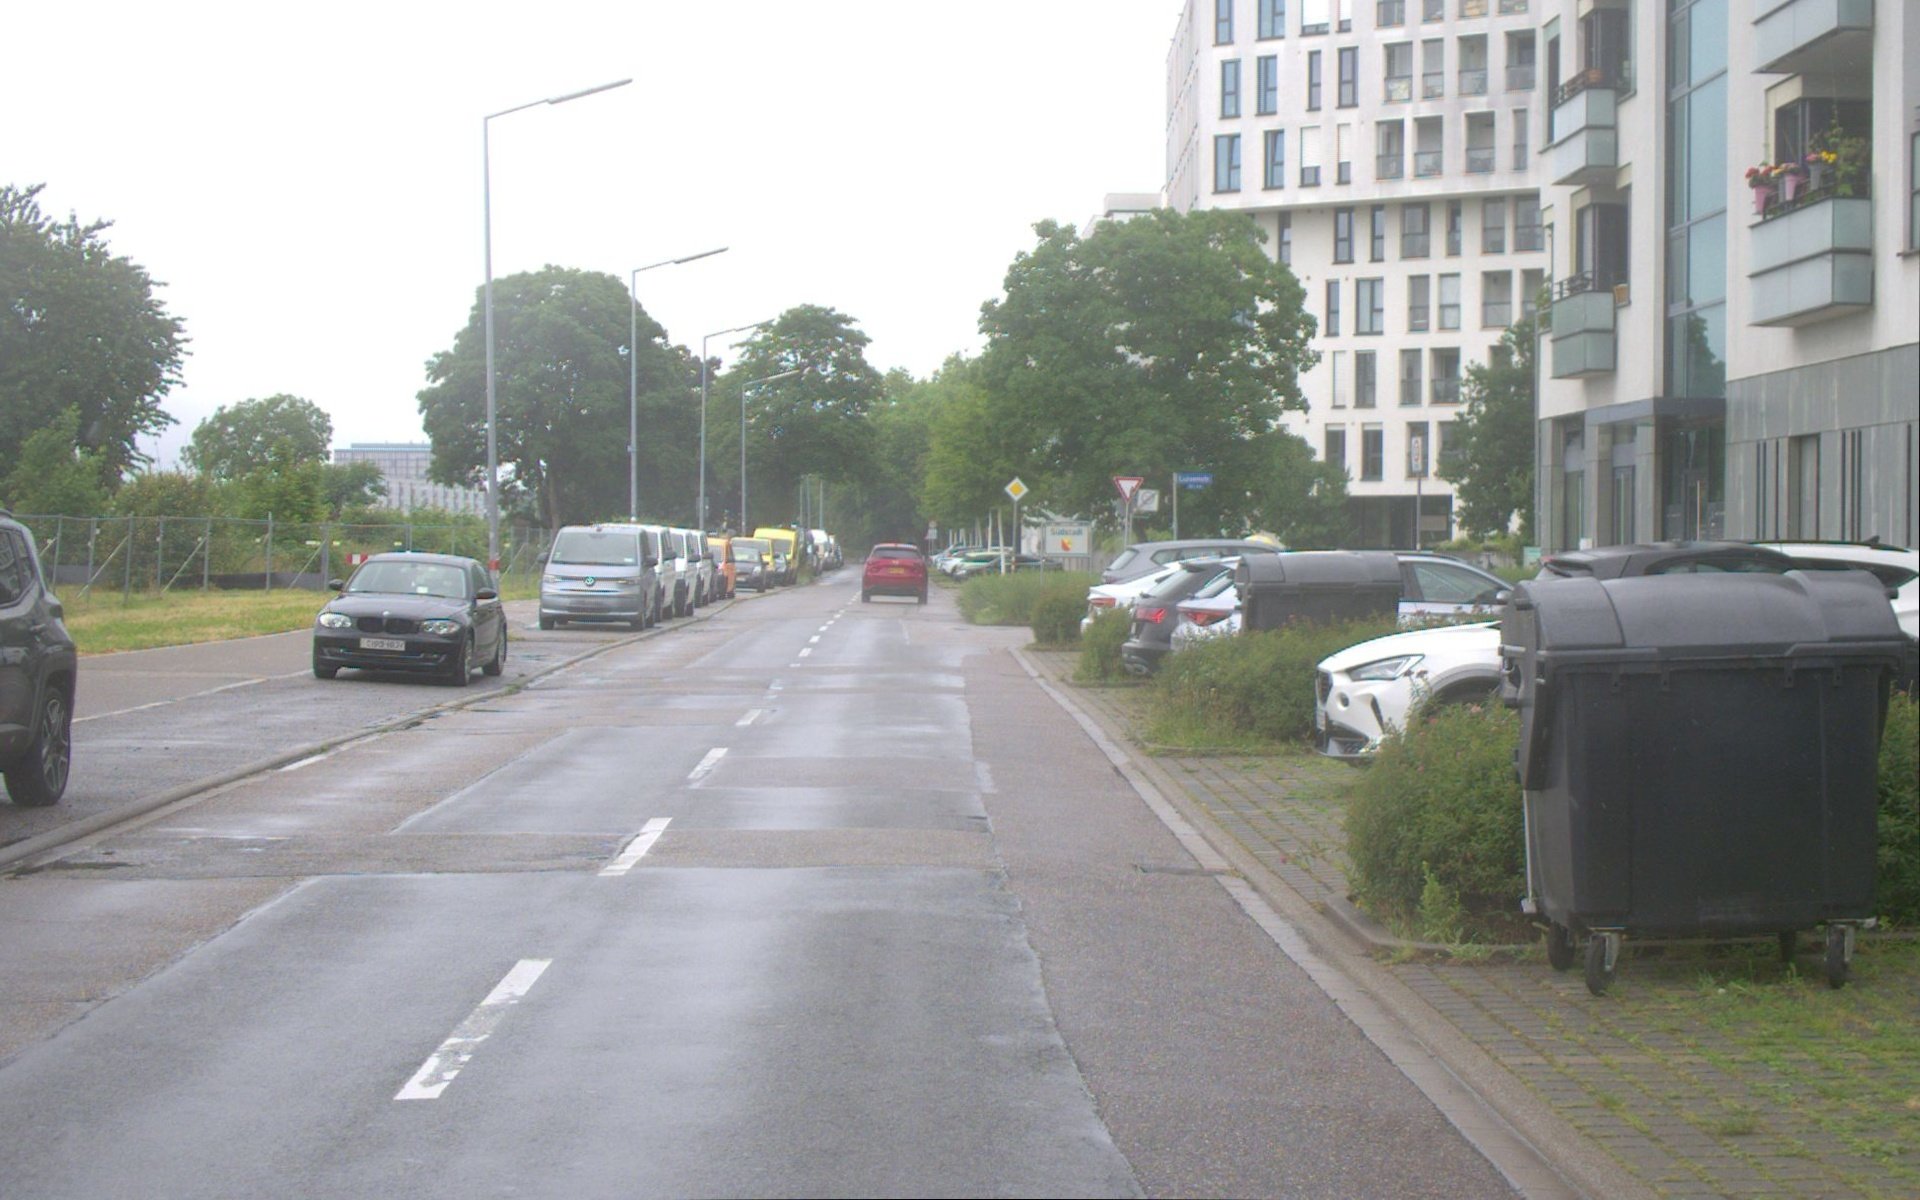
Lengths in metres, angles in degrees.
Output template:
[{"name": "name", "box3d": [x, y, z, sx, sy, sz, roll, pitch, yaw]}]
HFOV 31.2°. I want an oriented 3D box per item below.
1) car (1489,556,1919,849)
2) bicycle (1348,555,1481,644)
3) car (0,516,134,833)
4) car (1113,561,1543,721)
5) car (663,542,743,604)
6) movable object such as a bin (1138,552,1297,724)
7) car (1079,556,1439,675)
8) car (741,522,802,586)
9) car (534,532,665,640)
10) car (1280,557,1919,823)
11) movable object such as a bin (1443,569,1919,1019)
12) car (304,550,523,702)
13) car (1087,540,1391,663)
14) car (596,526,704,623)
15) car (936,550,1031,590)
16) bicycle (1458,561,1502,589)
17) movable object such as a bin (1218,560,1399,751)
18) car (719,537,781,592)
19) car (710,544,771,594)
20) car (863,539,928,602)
[{"name": "car", "box3d": [4.395, 0.537, 19.100, 2.623, 1.501, 1.208, -1, 1, -7]}, {"name": "bicycle", "box3d": [7.859, -0.020, 59.461, 2.190, 1.517, 0.630, 0, 1, 20]}, {"name": "car", "box3d": [-5.966, 0.379, 18.394, 1.753, 1.687, 4.880, 1, 1, 2]}, {"name": "car", "box3d": [3.624, 0.387, 34.417, 4.060, 1.491, 2.058, -1, 1, 0]}, {"name": "car", "box3d": [-7.495, -0.794, 100.675, 1.940, 1.761, 4.331, 1, 1, 1]}, {"name": "movable object such as a bin", "box3d": [2.349, 0.331, 31.632, 1.300, 1.521, 1.582, -1, 1, -1]}, {"name": "car", "box3d": [3.803, 0.187, 44.267, 4.409, 1.400, 1.911, -1, 1, -1]}, {"name": "car", "box3d": [-8.413, -2.051, 154.262, 2.192, 2.685, 6.081, 3, 1, 1]}, {"name": "car", "box3d": [-6.676, -0.287, 64.158, 1.956, 1.895, 4.995, 1, 1, -1]}, {"name": "car", "box3d": [4.337, 0.538, 21.999, 4.346, 1.525, 1.893, -1, 1, -1]}, {"name": "movable object such as a bin", "box3d": [2.599, 0.662, 12.396, 1.495, 1.488, 1.156, -2, 1, -1]}, {"name": "car", "box3d": [-6.232, 0.259, 39.609, 1.847, 1.556, 4.153, 3, 1, -1]}, {"name": "car", "box3d": [3.947, 0.010, 49.165, 4.089, 1.618, 1.966, -2, 1, -2]}, {"name": "car", "box3d": [-6.981, -0.600, 77.802, 1.959, 2.051, 5.274, 2, 1, -1]}, {"name": "car", "box3d": [1.168, -1.530, 172.733, 4.539, 1.679, 1.886, -4, 1, -3]}, {"name": "bicycle", "box3d": [19.625, -0.937, 129.749, 0.724, 1.029, 2.068, 1, 1, 39]}, {"name": "movable object such as a bin", "box3d": [2.883, 0.439, 28.629, 1.300, 1.521, 1.582, -1, 1, -1]}, {"name": "car", "box3d": [-7.933, -1.341, 130.313, 2.017, 1.950, 6.065, 3, 0, -1]}, {"name": "car", "box3d": [-7.487, -1.077, 117.617, 1.804, 1.556, 4.033, 4, 1, -1]}, {"name": "car", "box3d": [-1.824, -0.846, 96.514, 1.756, 1.700, 4.000, 1, 1, -2]}]
